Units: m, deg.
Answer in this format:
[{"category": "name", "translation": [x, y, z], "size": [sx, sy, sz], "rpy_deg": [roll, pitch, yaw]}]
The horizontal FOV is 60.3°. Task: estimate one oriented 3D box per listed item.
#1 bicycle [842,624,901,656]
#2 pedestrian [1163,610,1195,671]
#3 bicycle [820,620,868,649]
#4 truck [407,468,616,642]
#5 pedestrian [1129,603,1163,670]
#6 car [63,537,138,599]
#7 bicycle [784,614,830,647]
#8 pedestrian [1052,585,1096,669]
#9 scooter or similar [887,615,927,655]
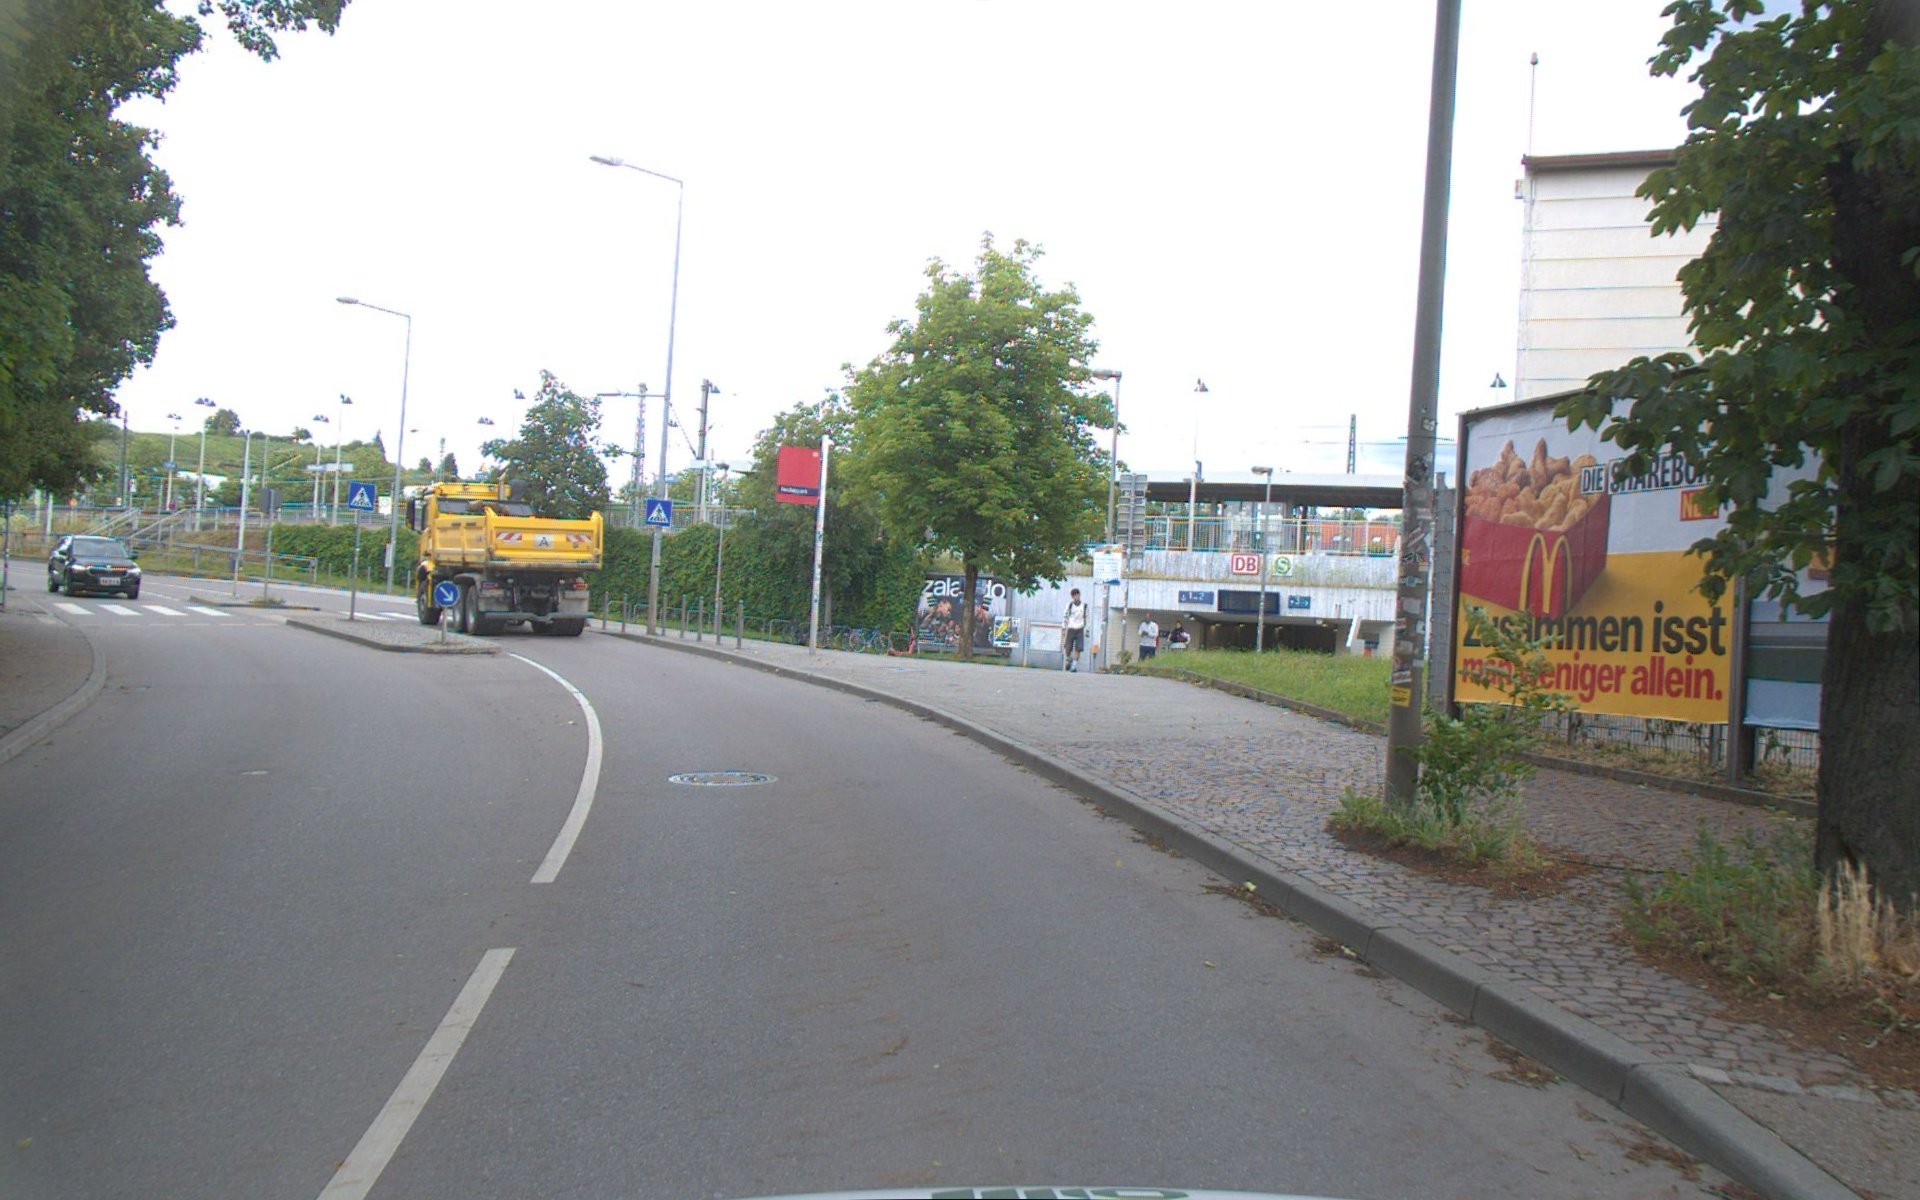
[{"category": "bicycle", "translation": [-3.046, 1.401, 57.221], "size": [1.945, 0.880, 0.506], "rpy_deg": [8, -2, -30]}, {"category": "pedestrian", "translation": [5.964, 1.105, 45.031], "size": [0.782, 1.611, 0.802], "rpy_deg": [2, -2, 10]}, {"category": "bicycle", "translation": [-4.052, 1.212, 57.796], "size": [1.556, 0.869, 0.459], "rpy_deg": [7, -2, -27]}, {"category": "truck", "translation": [-10.702, -1.132, 38.803], "size": [2.735, 3.543, 8.053], "rpy_deg": [4, 1, -29]}, {"category": "pedestrian", "translation": [4.945, 0.973, 43.914], "size": [0.797, 1.732, 0.749], "rpy_deg": [2, -2, 10]}, {"category": "car", "translation": [-23.896, -0.906, 45.988], "size": [1.782, 1.638, 4.138], "rpy_deg": [0, 2, -28]}, {"category": "bicycle", "translation": [-5.367, 1.051, 58.005], "size": [1.462, 1.006, 0.692], "rpy_deg": [6, -1, -12]}, {"category": "pedestrian", "translation": [2.393, 0.577, 34.635], "size": [0.830, 1.714, 0.940], "rpy_deg": [2, -2, 6]}, {"category": "scooter or similar", "translation": [-1.815, 1.191, 56.285], "size": [1.173, 1.227, 0.464], "rpy_deg": [6, -2, -27]}]
